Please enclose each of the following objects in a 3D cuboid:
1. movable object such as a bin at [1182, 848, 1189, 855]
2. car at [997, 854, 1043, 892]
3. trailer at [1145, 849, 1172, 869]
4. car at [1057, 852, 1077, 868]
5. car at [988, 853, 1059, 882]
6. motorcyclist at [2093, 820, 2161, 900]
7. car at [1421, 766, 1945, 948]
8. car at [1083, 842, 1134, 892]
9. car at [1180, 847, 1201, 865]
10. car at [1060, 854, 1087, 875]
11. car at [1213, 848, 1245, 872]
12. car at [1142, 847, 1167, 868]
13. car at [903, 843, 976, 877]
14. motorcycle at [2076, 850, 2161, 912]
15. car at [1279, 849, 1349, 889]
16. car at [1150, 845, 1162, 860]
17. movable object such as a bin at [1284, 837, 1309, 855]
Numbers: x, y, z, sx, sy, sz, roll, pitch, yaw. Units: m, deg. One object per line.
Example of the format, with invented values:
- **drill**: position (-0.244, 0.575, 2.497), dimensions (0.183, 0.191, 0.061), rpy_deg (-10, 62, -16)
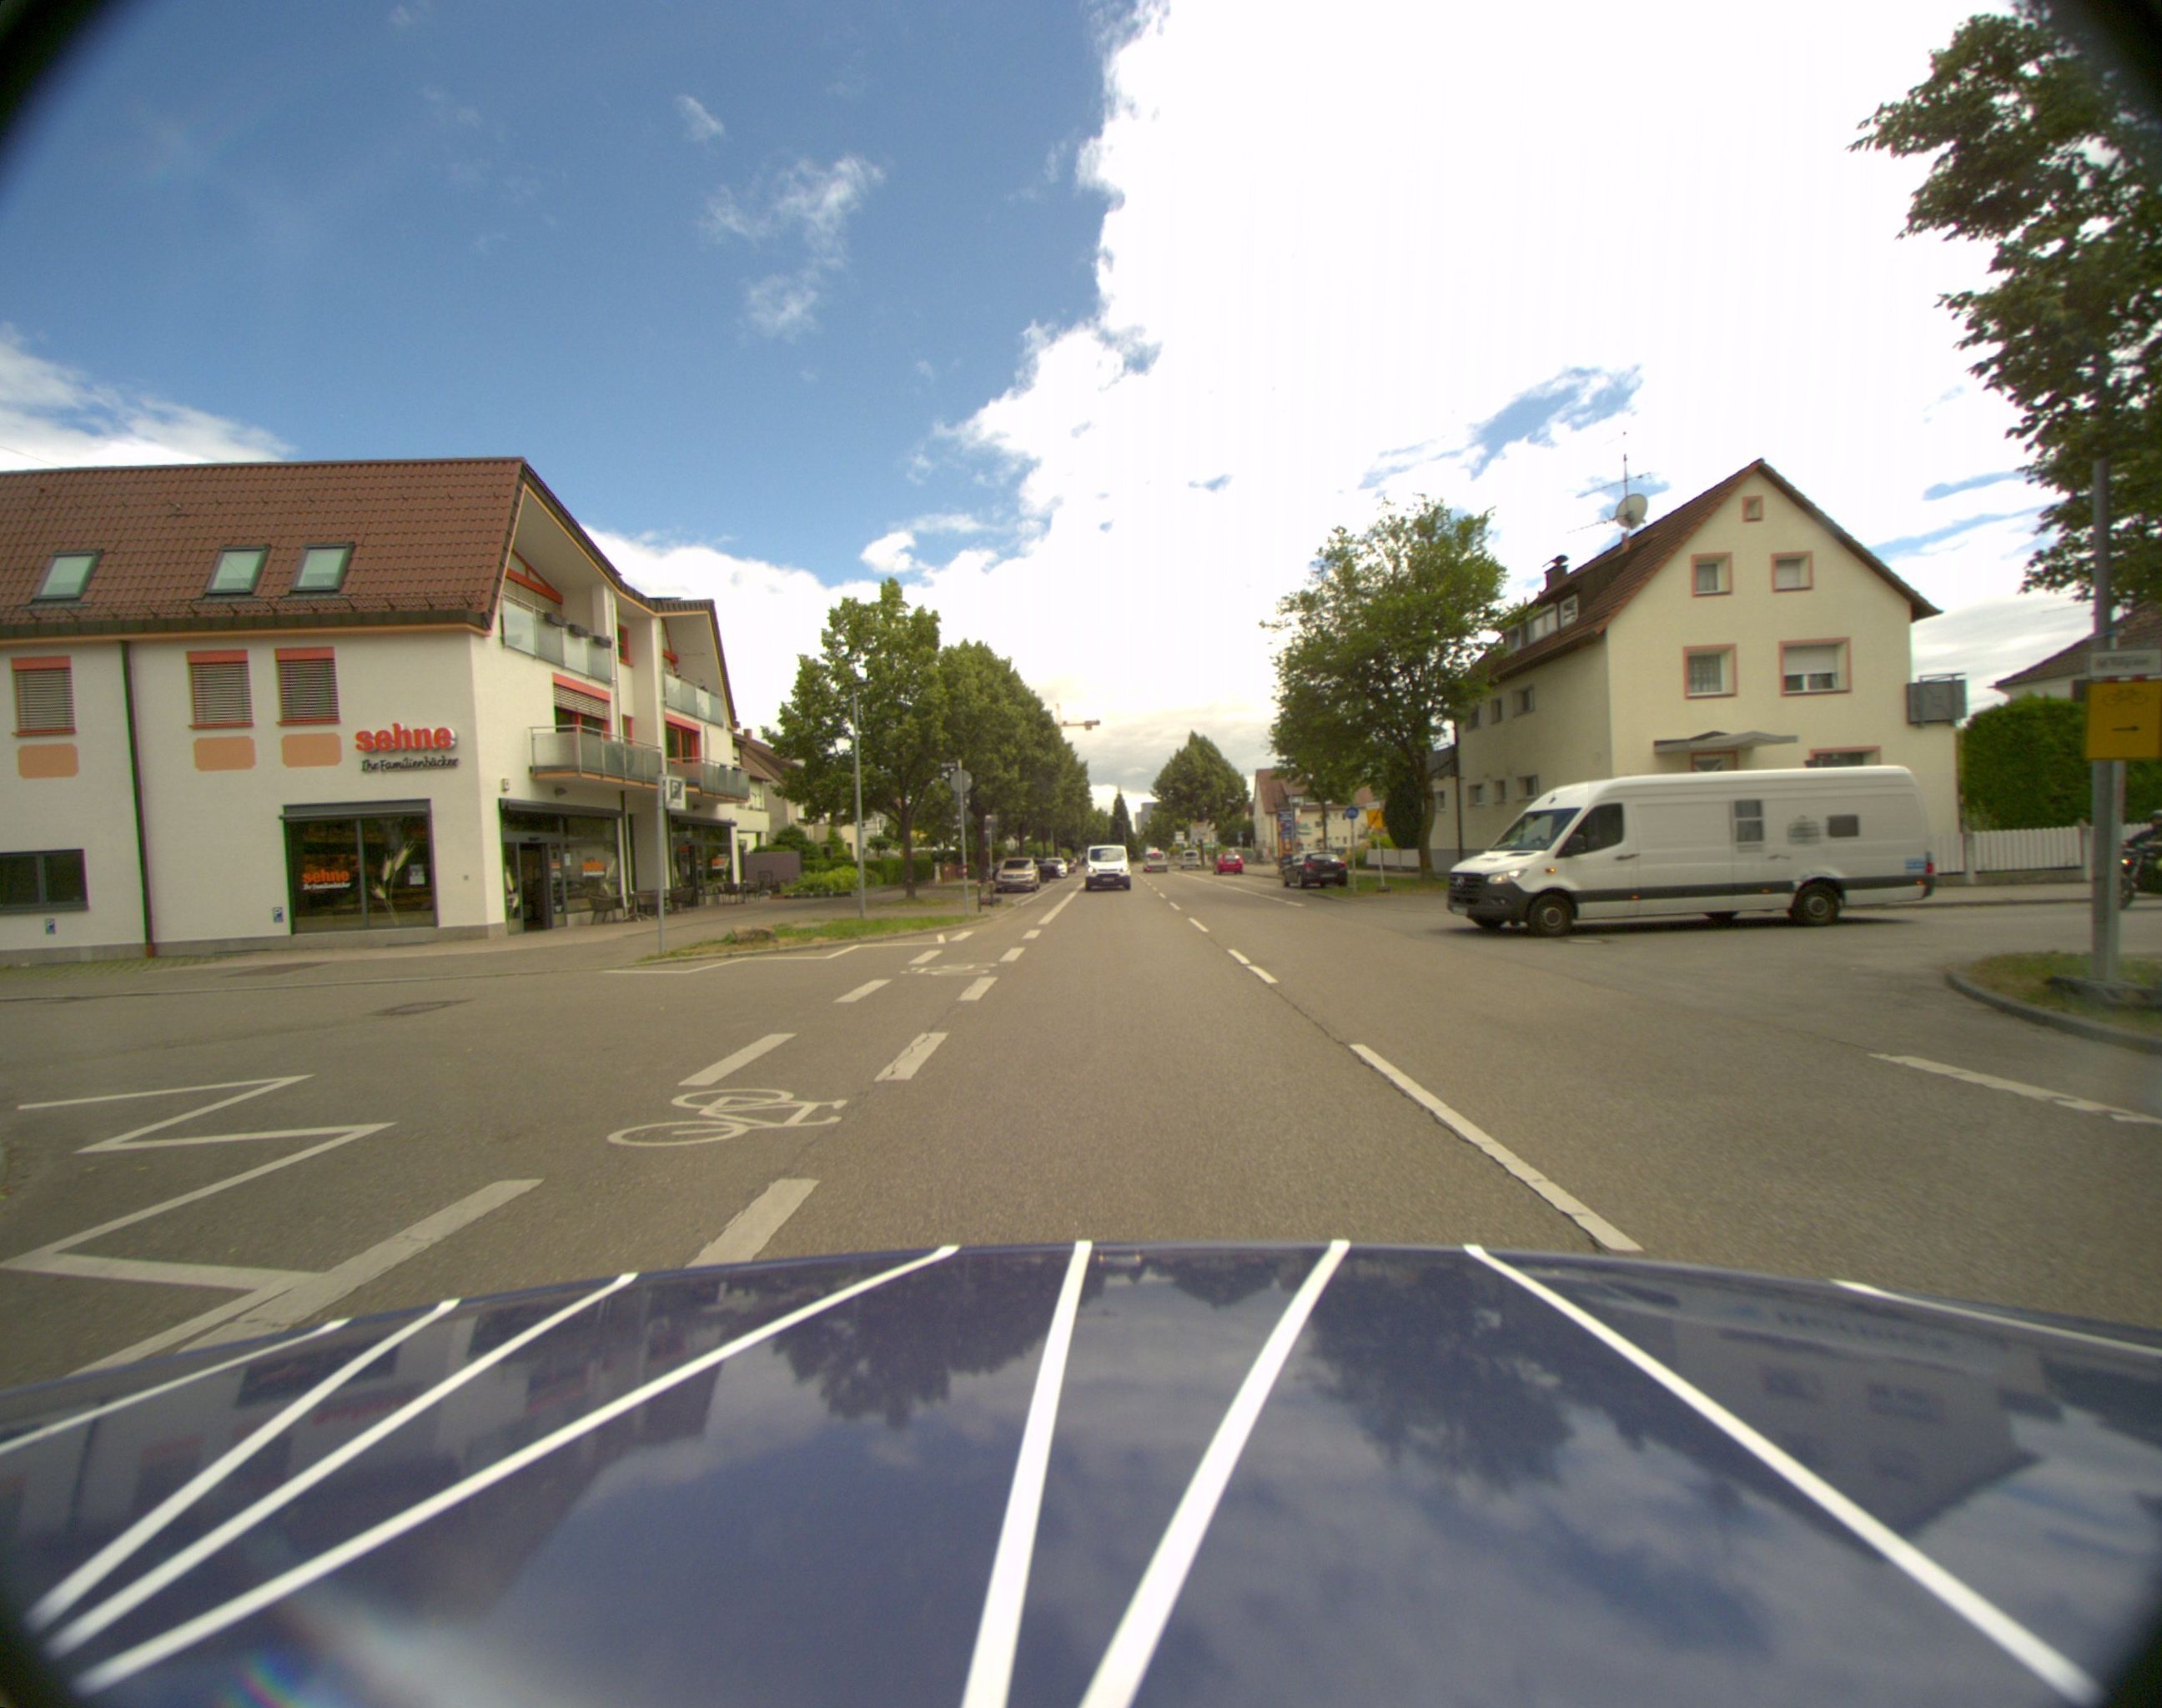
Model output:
- **movable object such as a bin**: position (21.138, -0.427, 153.454), dimensions (0.983, 1.408, 2.723), rpy_deg (-3, 0, 3)
- **car**: position (-2.720, 0.838, 34.762), dimensions (1.726, 1.571, 4.061), rpy_deg (-2, 0, 0)
- **trailer**: position (6.701, 0.418, 66.167), dimensions (1.942, 1.667, 4.689), rpy_deg (-2, 0, 2)
- **car**: position (-1.292, 0.554, 72.339), dimensions (1.657, 1.407, 4.177), rpy_deg (-1, 0, 2)
- **car**: position (-3.490, 0.799, 46.692), dimensions (4.229, 1.628, 1.693), rpy_deg (-1, 0, -3)
- **motorcyclist**: position (18.796, 0.091, 13.304), dimensions (1.109, 1.357, 0.753), rpy_deg (-2, 1, 1)
- **car**: position (10.026, 0.036, 13.089), dimensions (7.308, 2.579, 2.220), rpy_deg (-2, 1, -1)
- **car**: position (1.158, 0.531, 33.760), dimensions (1.998, 2.002, 5.050), rpy_deg (-3, 0, 1)
- **car**: position (11.429, 0.173, 79.586), dimensions (1.774, 1.760, 4.552), rpy_deg (-2, 0, 4)
- **car**: position (-0.516, 0.760, 57.187), dimensions (1.810, 1.466, 4.812), rpy_deg (-2, 0, 1)
- **car**: position (10.320, 0.395, 53.296), dimensions (1.689, 1.532, 4.133), rpy_deg (-2, 0, 4)
- **car**: position (6.863, 0.324, 70.913), dimensions (1.971, 1.820, 4.819), rpy_deg (-2, 0, 2)
- **car**: position (-11.931, 0.504, 64.317), dimensions (5.729, 2.576, 1.997), rpy_deg (-2, 0, -2)
- **motorcycle**: position (18.869, 0.451, 13.343), dimensions (2.118, 1.025, 0.480), rpy_deg (-2, 1, 0)
- **car**: position (9.347, 0.544, 30.807), dimensions (1.735, 1.460, 4.302), rpy_deg (-2, 0, 3)
- **car**: position (13.689, -0.330, 138.584), dimensions (2.023, 2.658, 5.807), rpy_deg (-2, 0, 4)
- **movable object such as a bin**: position (26.851, -0.989, 94.890), dimensions (1.901, 2.175, 4.362), rpy_deg (-2, 0, 0)
